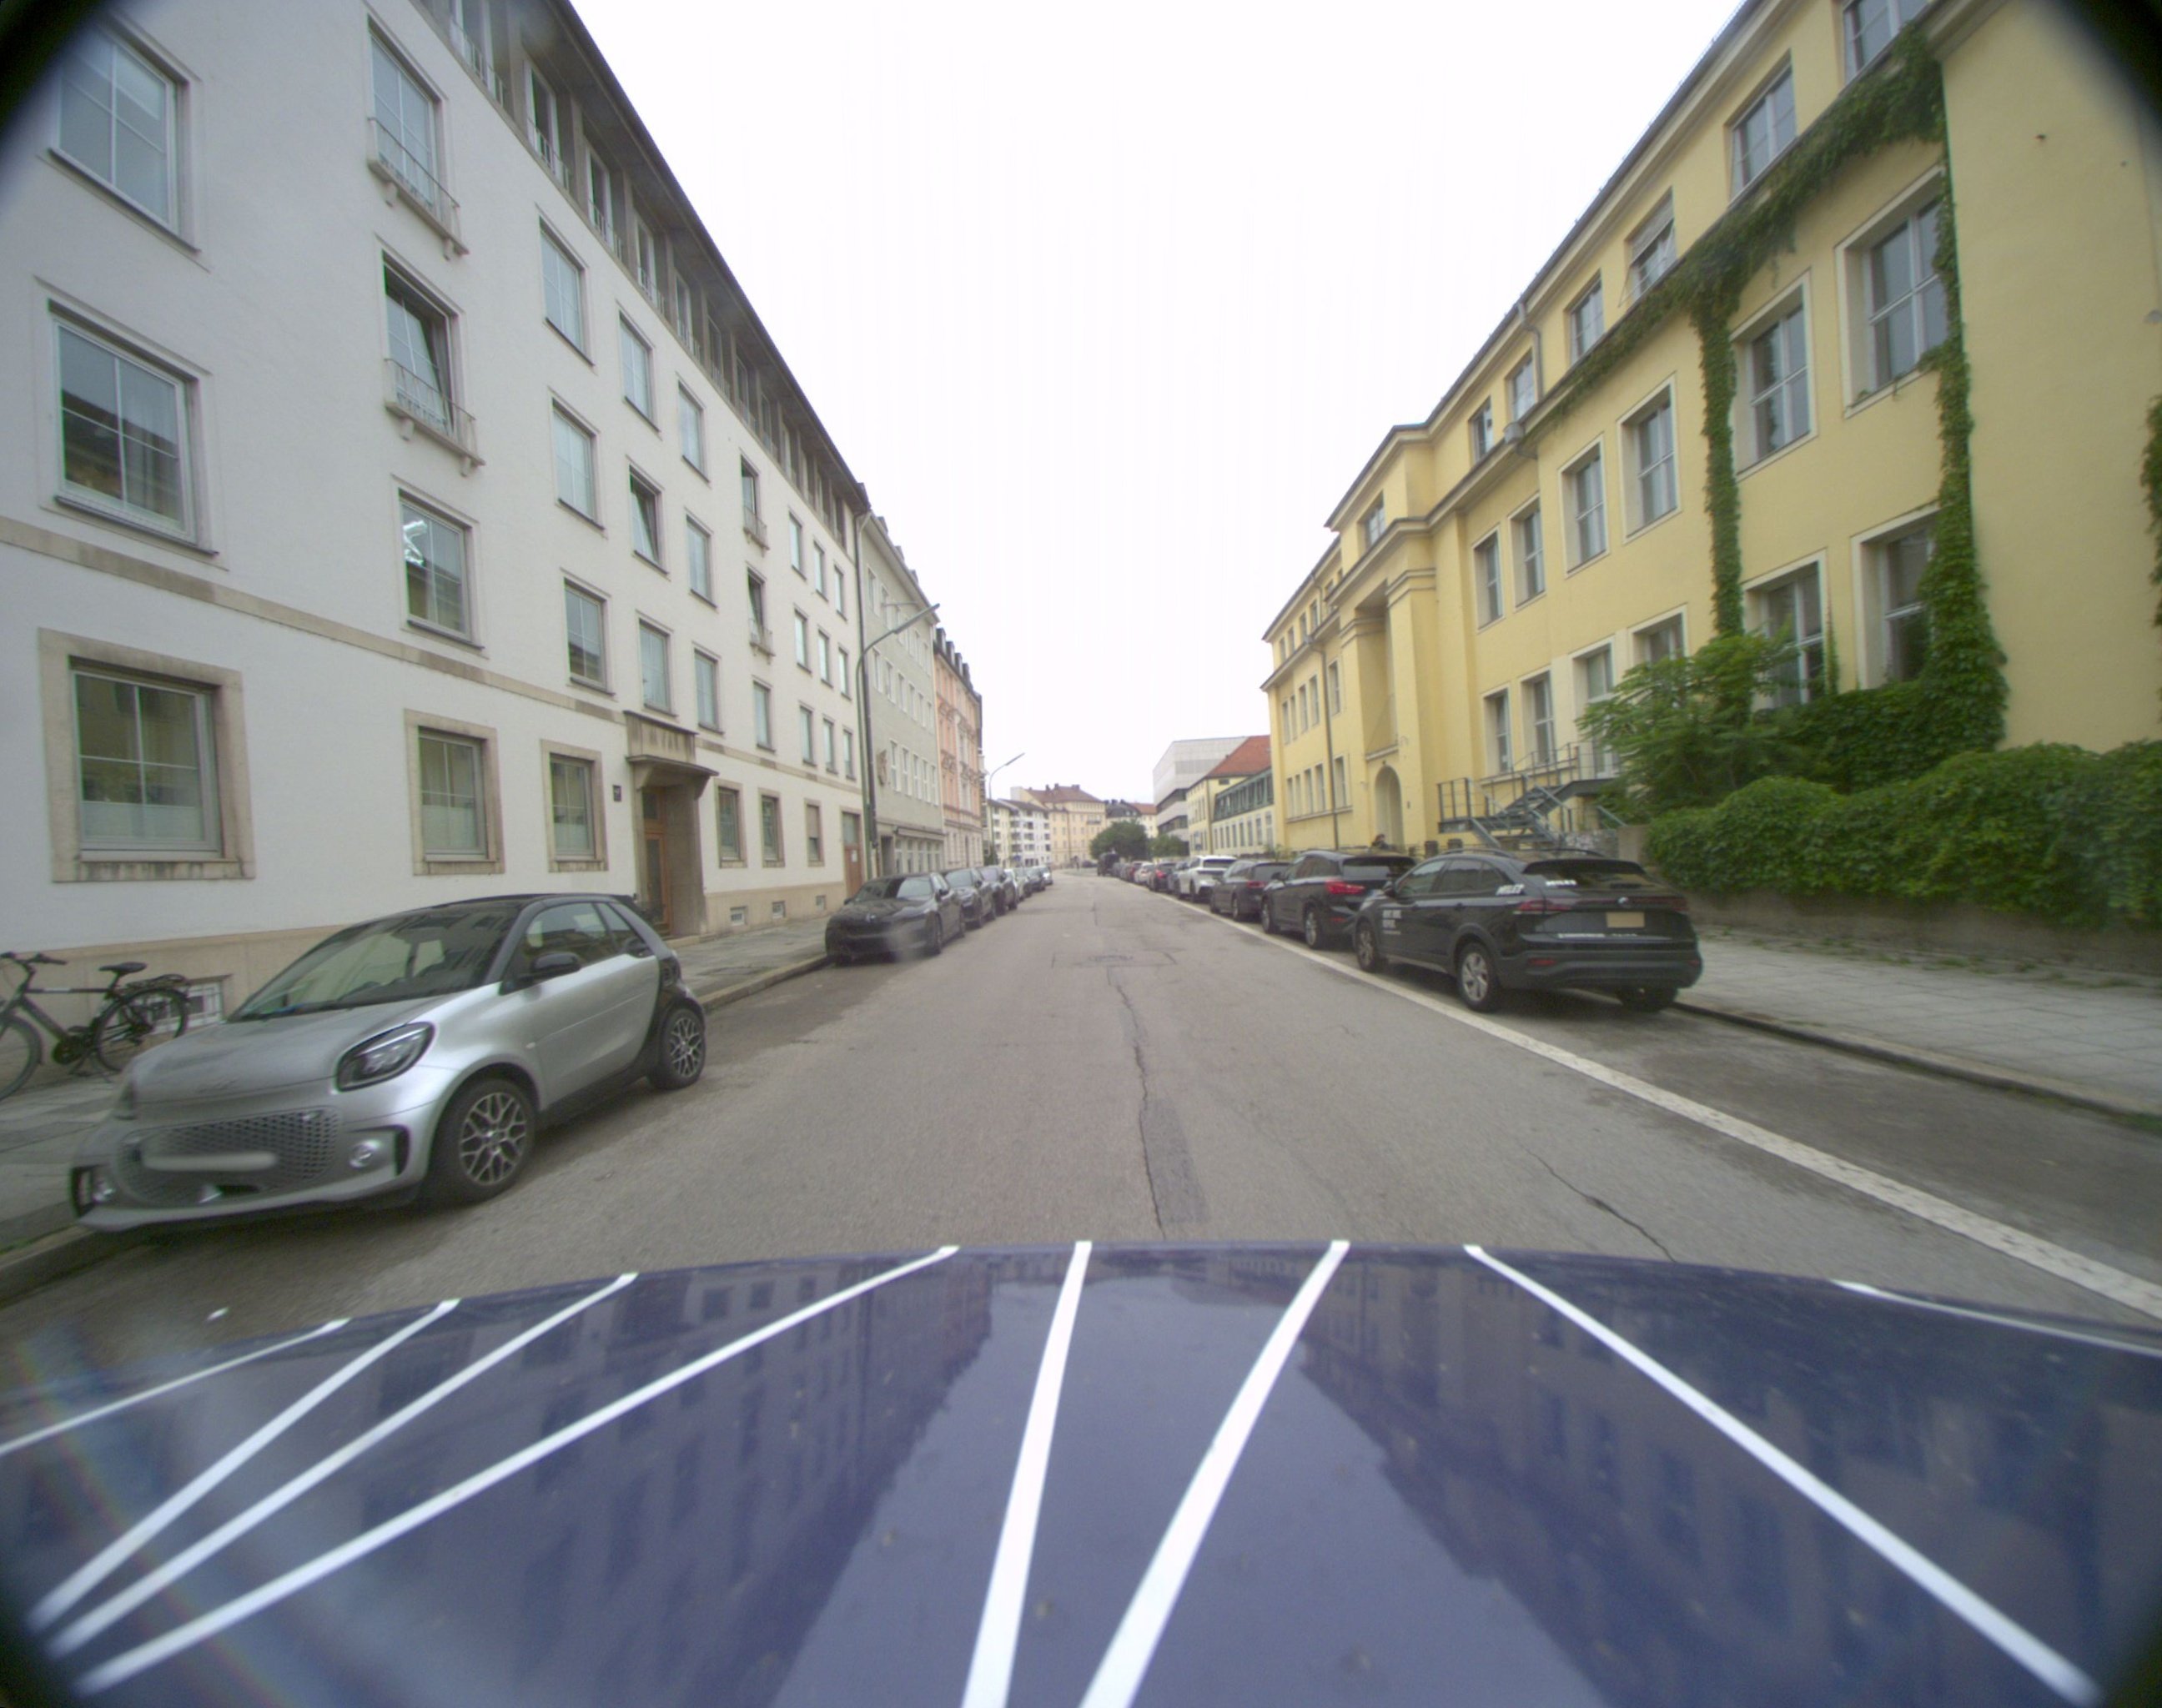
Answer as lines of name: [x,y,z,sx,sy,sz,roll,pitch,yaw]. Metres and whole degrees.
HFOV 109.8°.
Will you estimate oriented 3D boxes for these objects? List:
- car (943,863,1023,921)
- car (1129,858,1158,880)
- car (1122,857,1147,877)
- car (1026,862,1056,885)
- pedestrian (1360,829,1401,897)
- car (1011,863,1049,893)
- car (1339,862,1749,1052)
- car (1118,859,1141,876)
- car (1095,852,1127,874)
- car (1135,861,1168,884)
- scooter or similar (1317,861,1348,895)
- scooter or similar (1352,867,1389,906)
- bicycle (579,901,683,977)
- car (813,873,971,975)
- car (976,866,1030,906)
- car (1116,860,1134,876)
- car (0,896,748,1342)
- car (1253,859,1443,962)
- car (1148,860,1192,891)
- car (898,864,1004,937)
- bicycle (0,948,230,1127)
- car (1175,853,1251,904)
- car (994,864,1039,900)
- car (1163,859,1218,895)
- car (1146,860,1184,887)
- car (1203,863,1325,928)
car: [-3.117,1.168,25.144,1.831,1.572,4.491,-5,0,2]
car: [4.512,1.082,55.499,1.774,1.545,4.210,0,0,0]
car: [4.358,1.068,62.335,1.673,1.509,3.947,-2,0,0]
car: [-3.188,1.532,61.372,2.001,1.563,4.491,-6,0,0]
pedestrian: [8.392,0.248,21.304,0.776,1.813,0.782,-3,0,4]
car: [-2.952,1.380,45.063,1.725,1.457,4.193,-6,0,2]
car: [4.377,0.836,8.108,1.722,1.472,4.220,1,0,-1]
car: [4.804,1.312,75.841,1.998,1.631,4.210,-2,0,0]
car: [3.525,1.087,92.206,2.848,2.536,6.890,-2,0,-6]
car: [4.592,1.200,49.852,1.816,1.389,4.020,-1,0,0]
scooter or similar: [8.654,0.815,26.180,0.532,1.129,1.445,-3,-1,1]
scooter or similar: [8.694,0.959,22.862,0.532,1.129,1.445,-3,-1,1]
bicycle: [-7.647,1.406,13.035,0.599,1.073,2.040,0,0,-1]
car: [-3.419,1.206,14.740,1.878,1.439,4.700,-5,0,-1]
car: [-3.261,1.332,32.484,1.745,1.421,4.181,-5,0,0]
car: [4.626,1.470,80.638,1.673,1.509,3.947,-2,0,0]
car: [-3.789,1.200,4.845,1.618,1.507,3.380,-7,0,1]
car: [4.405,0.840,13.292,1.774,1.494,4.273,-1,0,-1]
car: [4.290,1.006,37.026,1.738,1.431,3.779,0,0,0]
car: [-3.314,1.132,20.234,1.831,1.572,4.491,-5,0,1]
bicycle: [-7.870,1.371,5.815,0.631,1.085,1.837,-1,0,0]
car: [4.560,0.810,26.865,1.786,1.631,4.299,0,0,-2]
car: [-3.213,1.381,38.589,1.768,1.531,4.000,-6,0,1]
car: [4.588,0.924,32.360,1.611,1.438,3.917,0,0,-2]
car: [4.637,1.044,42.309,1.690,1.438,4.113,-1,0,0]
car: [4.345,0.932,18.821,1.778,1.400,4.601,1,0,-2]
